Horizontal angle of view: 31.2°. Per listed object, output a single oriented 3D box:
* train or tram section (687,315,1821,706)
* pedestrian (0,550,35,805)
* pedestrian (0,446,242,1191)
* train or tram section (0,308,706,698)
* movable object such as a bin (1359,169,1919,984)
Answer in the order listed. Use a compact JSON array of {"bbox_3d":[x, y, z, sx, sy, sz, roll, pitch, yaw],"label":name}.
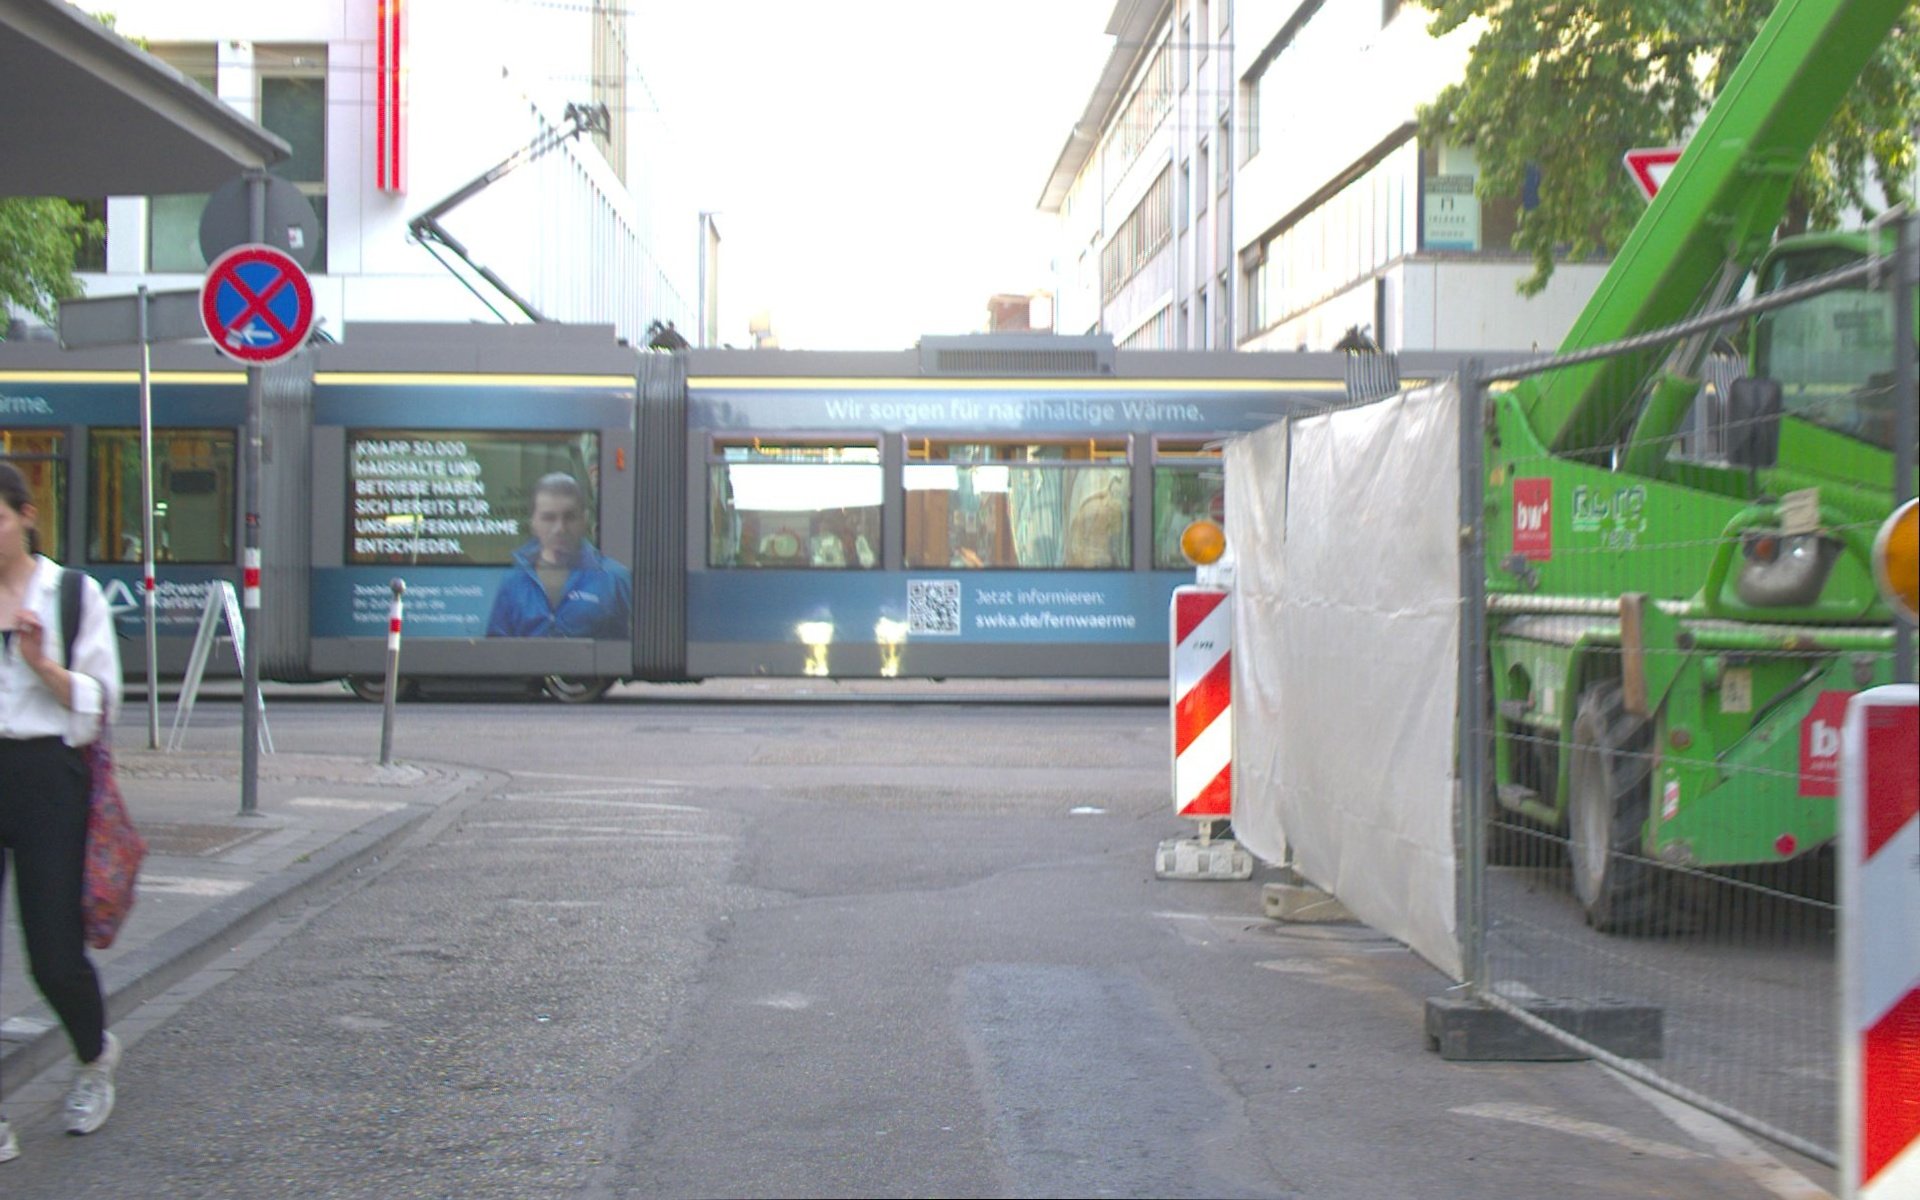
[{"bbox_3d":[2.660,-0.835,32.812,10.335,3.511,3.027,0,0,-2],"label":"train or tram section"},{"bbox_3d":[-5.007,0.366,16.477,0.705,1.215,0.840,1,1,36],"label":"pedestrian"},{"bbox_3d":[-2.265,0.514,8.448,0.756,1.733,0.785,-2,1,2],"label":"pedestrian"},{"bbox_3d":[-7.676,-0.876,32.555,10.367,3.512,3.017,0,0,-1],"label":"train or tram section"},{"bbox_3d":[3.553,-0.147,14.958,2.635,2.863,5.566,-1,1,-4],"label":"movable object such as a bin"}]
